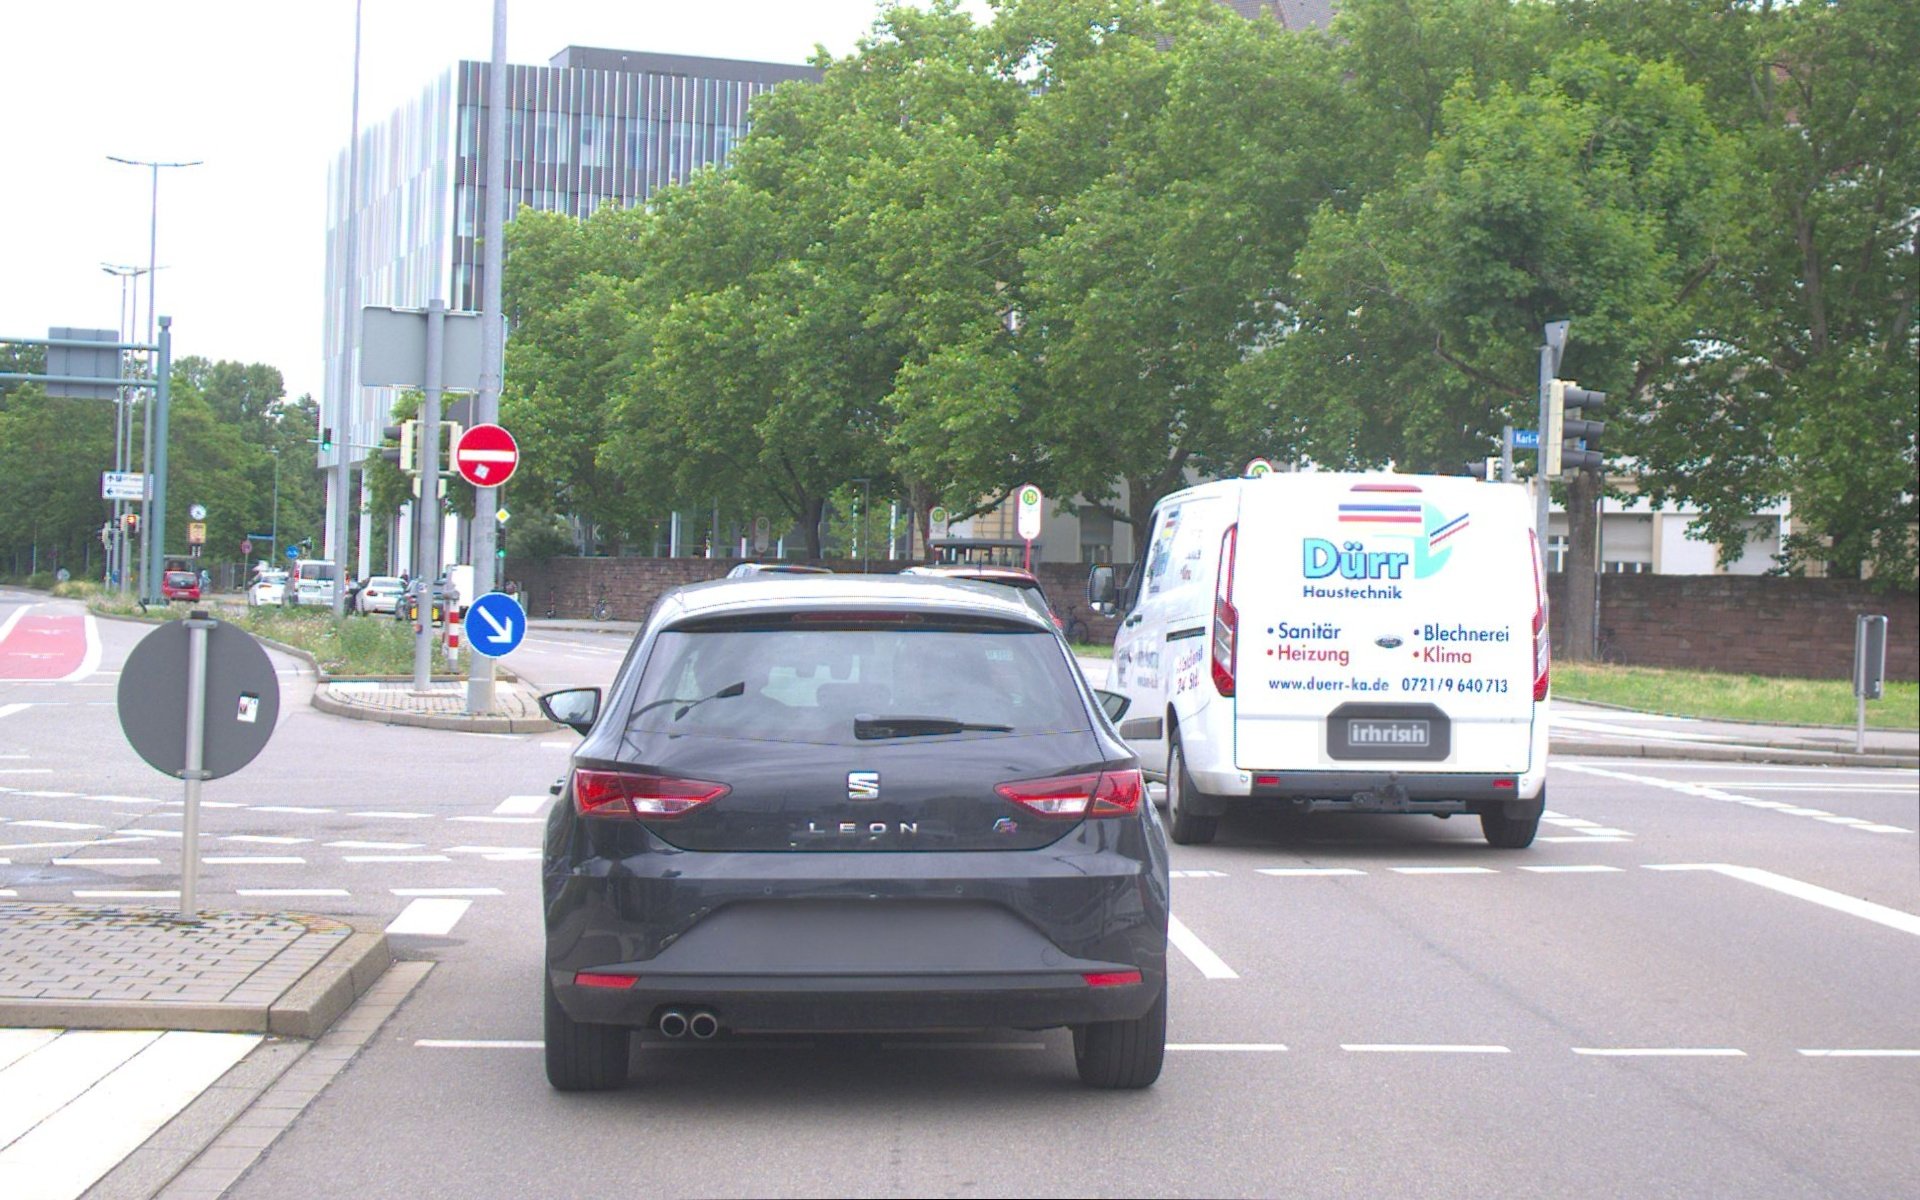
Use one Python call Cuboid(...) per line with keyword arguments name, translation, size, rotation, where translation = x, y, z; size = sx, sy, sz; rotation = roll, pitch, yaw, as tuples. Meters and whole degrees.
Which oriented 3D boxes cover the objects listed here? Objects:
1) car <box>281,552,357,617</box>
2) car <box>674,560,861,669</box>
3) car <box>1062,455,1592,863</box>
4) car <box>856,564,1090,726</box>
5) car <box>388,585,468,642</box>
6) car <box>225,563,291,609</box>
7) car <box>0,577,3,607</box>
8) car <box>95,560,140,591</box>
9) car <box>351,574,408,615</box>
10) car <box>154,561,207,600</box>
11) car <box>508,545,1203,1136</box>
Cuboid(name="car", translation=(-20.884, -0.516, 111.901), size=(1.993, 2.007, 4.001), rotation=(2, 0, -16))
Cuboid(name="car", translation=(-3.063, 0.197, 53.835), size=(1.993, 1.560, 4.206), rotation=(2, 0, -16))
Cuboid(name="car", translation=(1.940, 0.278, 19.926), size=(1.993, 2.012, 5.033), rotation=(2, 0, -6))
Cuboid(name="car", translation=(0.074, 0.442, 37.320), size=(1.857, 1.595, 4.206), rotation=(2, 0, -9))
Cuboid(name="car", translation=(-16.740, 0.408, 107.996), size=(1.917, 1.678, 4.001), rotation=(2, 1, -17))
Cuboid(name="car", translation=(-26.010, -0.518, 127.305), size=(1.993, 1.634, 4.001), rotation=(2, 0, -16))
Cuboid(name="car", translation=(-59.524, -0.549, 208.984), size=(1.993, 1.774, 4.001), rotation=(1, 0, -25))
Cuboid(name="car", translation=(-36.898, -1.091, 150.541), size=(1.711, 1.261, 3.341), rotation=(2, 0, -17))
Cuboid(name="car", translation=(-20.074, -0.195, 118.832), size=(1.525, 1.360, 2.970), rotation=(2, 0, -17))
Cuboid(name="car", translation=(-34.809, -0.865, 153.514), size=(1.993, 1.676, 4.011), rotation=(2, 0, -17))
Cuboid(name="car", translation=(-0.427, 0.630, 10.808), size=(1.745, 1.459, 4.000), rotation=(-2, 0, -5))
